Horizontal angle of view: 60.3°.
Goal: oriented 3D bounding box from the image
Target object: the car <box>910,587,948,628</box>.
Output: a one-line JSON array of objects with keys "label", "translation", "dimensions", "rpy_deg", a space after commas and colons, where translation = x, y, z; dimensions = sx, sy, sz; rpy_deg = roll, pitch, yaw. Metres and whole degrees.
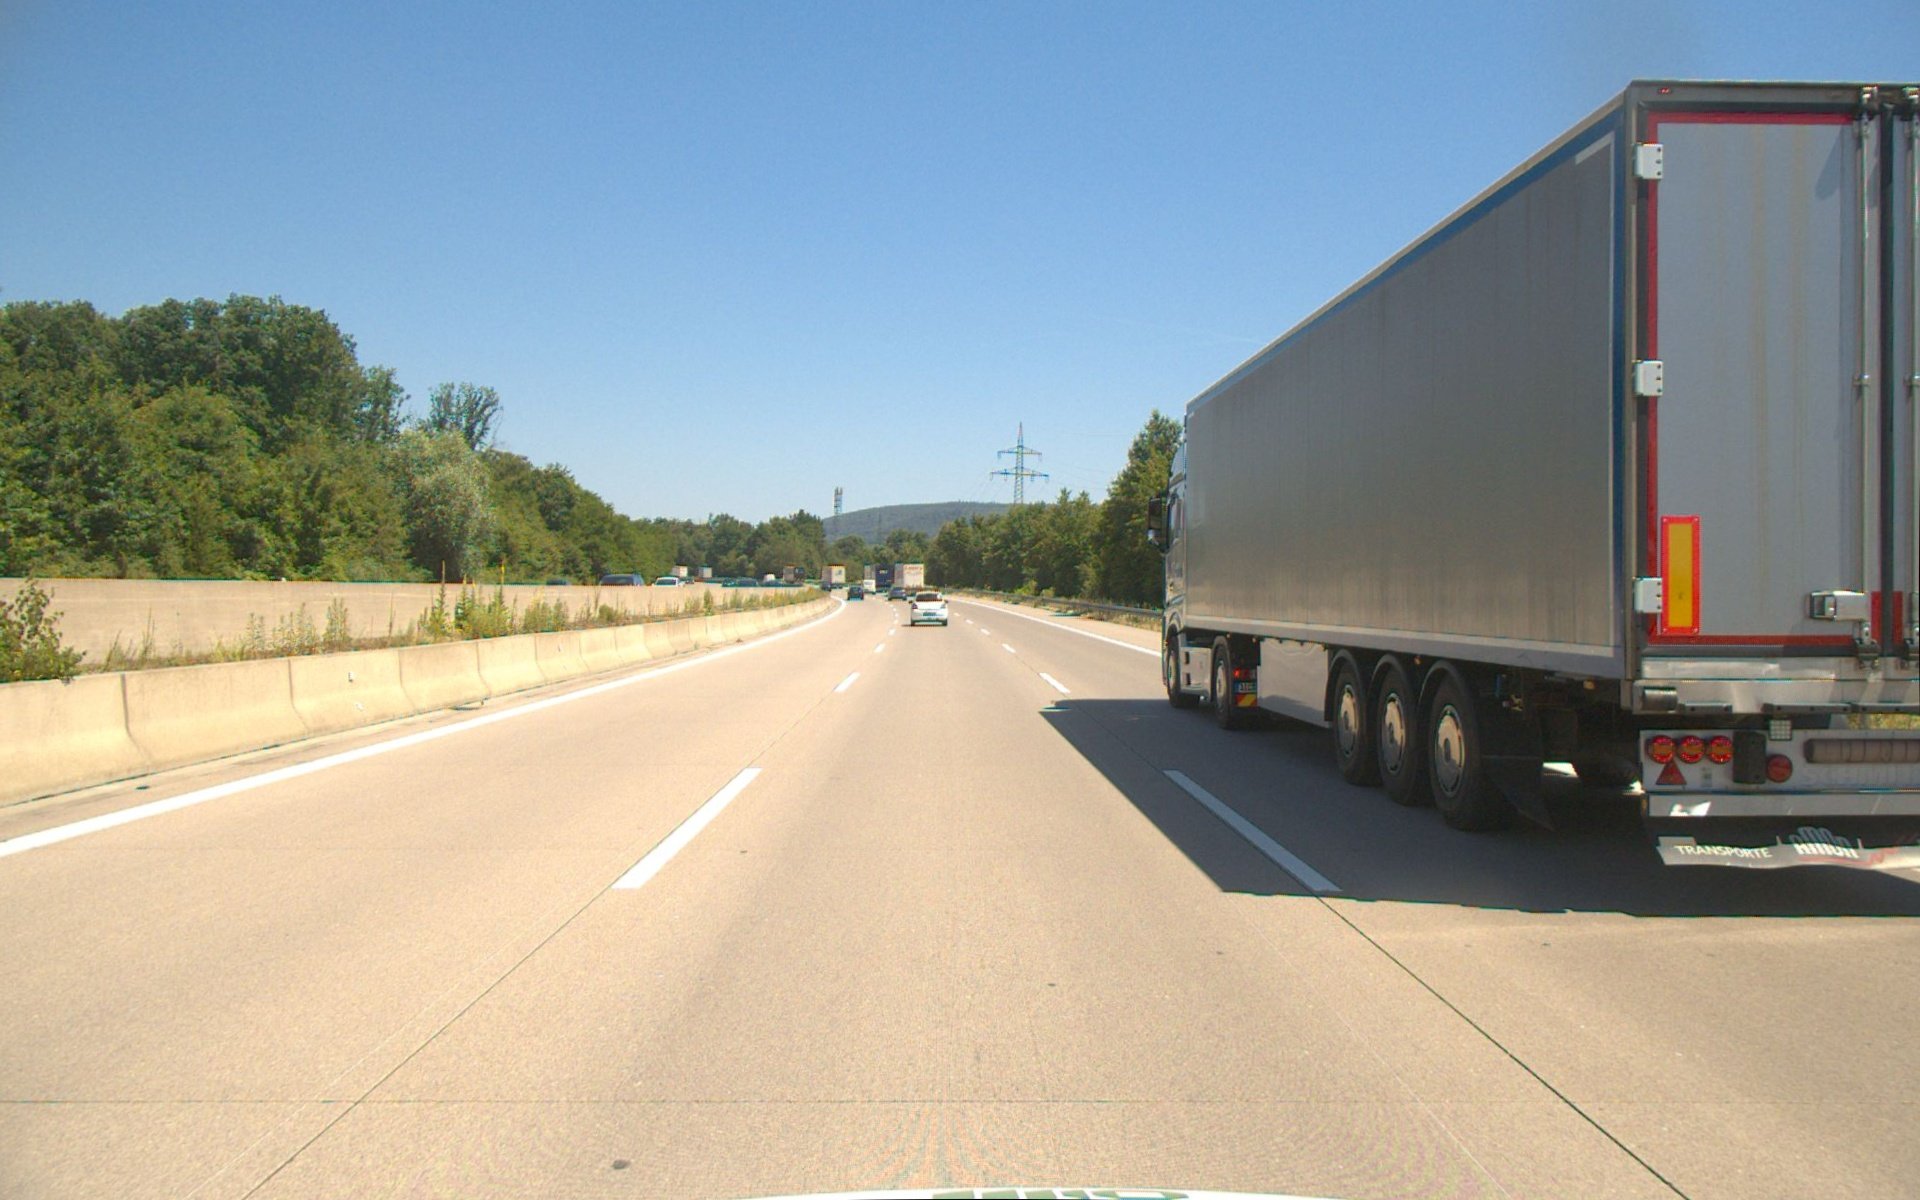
[{"label": "car", "translation": [-1.405, 0.315, 75.033], "dimensions": [1.608, 1.690, 3.359], "rpy_deg": [4, 1, -1]}]

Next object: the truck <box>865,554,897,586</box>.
[{"label": "truck", "translation": [-12.184, -4.564, 254.283], "dimensions": [3.833, 4.824, 14.027], "rpy_deg": [-1, 1, -7]}]

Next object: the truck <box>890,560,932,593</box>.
[{"label": "truck", "translation": [-6.268, -2.961, 208.743], "dimensions": [3.748, 3.957, 14.129], "rpy_deg": [-1, 1, -8]}]

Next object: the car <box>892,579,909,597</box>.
[{"label": "car", "translation": [-6.081, -1.207, 168.117], "dimensions": [1.578, 1.755, 3.571], "rpy_deg": [-1, 1, -4]}]

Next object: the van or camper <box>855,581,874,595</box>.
[{"label": "van or camper", "translation": [-13.209, -1.630, 228.194], "dimensions": [1.835, 1.870, 3.986], "rpy_deg": [-1, 1, -13]}]

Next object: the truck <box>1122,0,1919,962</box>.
[{"label": "truck", "translation": [4.590, -1.404, 16.727], "dimensions": [3.505, 5.887, 18.243], "rpy_deg": [2, 1, -1]}]

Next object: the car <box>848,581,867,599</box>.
[{"label": "car", "translation": [-11.153, -1.108, 180.107], "dimensions": [1.982, 1.730, 3.998], "rpy_deg": [4, 0, -3]}]
